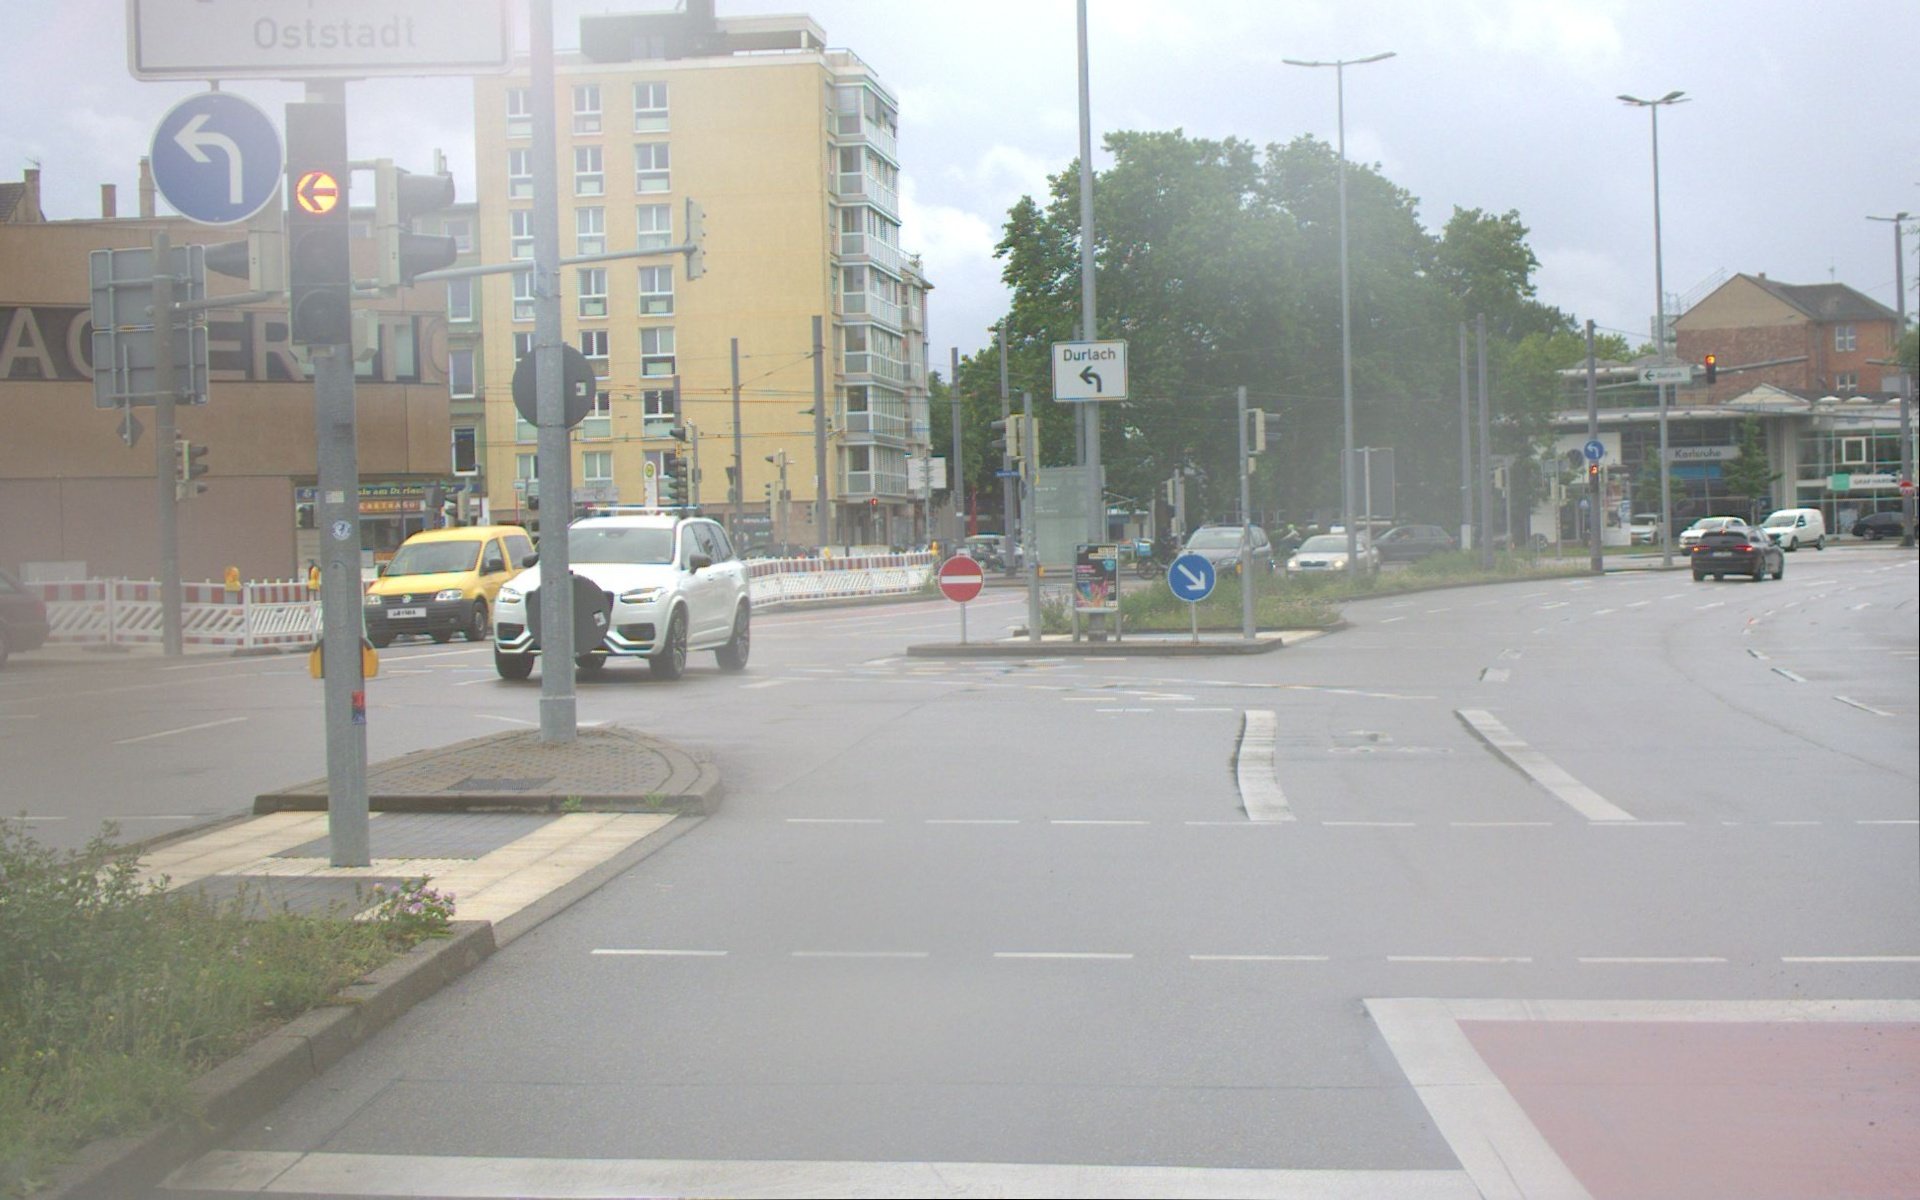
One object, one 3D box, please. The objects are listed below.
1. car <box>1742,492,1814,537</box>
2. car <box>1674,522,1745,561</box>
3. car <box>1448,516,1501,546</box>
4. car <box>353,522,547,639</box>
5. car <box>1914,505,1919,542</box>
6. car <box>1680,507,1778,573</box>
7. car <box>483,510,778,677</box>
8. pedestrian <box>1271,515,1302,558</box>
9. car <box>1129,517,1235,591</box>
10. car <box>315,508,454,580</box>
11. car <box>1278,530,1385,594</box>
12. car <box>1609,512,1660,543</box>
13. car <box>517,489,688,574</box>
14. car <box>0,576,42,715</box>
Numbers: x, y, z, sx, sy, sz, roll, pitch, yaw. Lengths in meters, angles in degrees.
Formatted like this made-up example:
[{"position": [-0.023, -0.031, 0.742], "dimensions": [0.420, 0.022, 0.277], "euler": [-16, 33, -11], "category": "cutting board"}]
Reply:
[{"position": [34.665, -3.638, 145.628], "dimensions": [1.793, 1.851, 4.152], "euler": [-1, 1, 30], "category": "car"}, {"position": [32.822, -2.575, 150.438], "dimensions": [1.793, 1.637, 4.390], "euler": [-1, 1, 29], "category": "car"}, {"position": [28.844, -3.876, 192.656], "dimensions": [1.792, 1.637, 4.154], "euler": [-1, 1, 25], "category": "car"}, {"position": [-7.858, -0.331, 53.336], "dimensions": [1.706, 1.700, 4.151], "euler": [-1, 1, 10], "category": "car"}, {"position": [43.682, -3.419, 152.216], "dimensions": [1.793, 1.637, 4.039], "euler": [-1, 1, 31], "category": "car"}, {"position": [20.153, -1.587, 90.018], "dimensions": [1.792, 1.637, 4.155], "euler": [-1, 1, 22], "category": "car"}, {"position": [-3.533, -0.129, 37.967], "dimensions": [1.827, 1.676, 5.163], "euler": [-1, 1, 11], "category": "car"}, {"position": [13.899, -2.718, 146.416], "dimensions": [1.092, 1.807, 1.119], "euler": [-2, 1, -3], "category": "pedestrian"}, {"position": [5.809, -1.225, 89.579], "dimensions": [1.695, 1.684, 4.180], "euler": [-1, 3, 19], "category": "car"}, {"position": [-24.411, -2.377, 145.963], "dimensions": [5.351, 2.877, 2.339], "euler": [-1, 1, 4], "category": "car"}, {"position": [9.790, -1.024, 90.421], "dimensions": [1.696, 1.410, 4.179], "euler": [-1, 3, 22], "category": "car"}, {"position": [37.086, -4.014, 188.992], "dimensions": [1.792, 1.637, 4.154], "euler": [-1, 1, 25], "category": "car"}, {"position": [-15.054, -2.889, 145.112], "dimensions": [6.742, 3.368, 2.809], "euler": [-1, 1, 4], "category": "car"}, {"position": [-13.576, 0.618, 41.773], "dimensions": [1.709, 1.700, 4.450], "euler": [0, 2, 41], "category": "car"}]
